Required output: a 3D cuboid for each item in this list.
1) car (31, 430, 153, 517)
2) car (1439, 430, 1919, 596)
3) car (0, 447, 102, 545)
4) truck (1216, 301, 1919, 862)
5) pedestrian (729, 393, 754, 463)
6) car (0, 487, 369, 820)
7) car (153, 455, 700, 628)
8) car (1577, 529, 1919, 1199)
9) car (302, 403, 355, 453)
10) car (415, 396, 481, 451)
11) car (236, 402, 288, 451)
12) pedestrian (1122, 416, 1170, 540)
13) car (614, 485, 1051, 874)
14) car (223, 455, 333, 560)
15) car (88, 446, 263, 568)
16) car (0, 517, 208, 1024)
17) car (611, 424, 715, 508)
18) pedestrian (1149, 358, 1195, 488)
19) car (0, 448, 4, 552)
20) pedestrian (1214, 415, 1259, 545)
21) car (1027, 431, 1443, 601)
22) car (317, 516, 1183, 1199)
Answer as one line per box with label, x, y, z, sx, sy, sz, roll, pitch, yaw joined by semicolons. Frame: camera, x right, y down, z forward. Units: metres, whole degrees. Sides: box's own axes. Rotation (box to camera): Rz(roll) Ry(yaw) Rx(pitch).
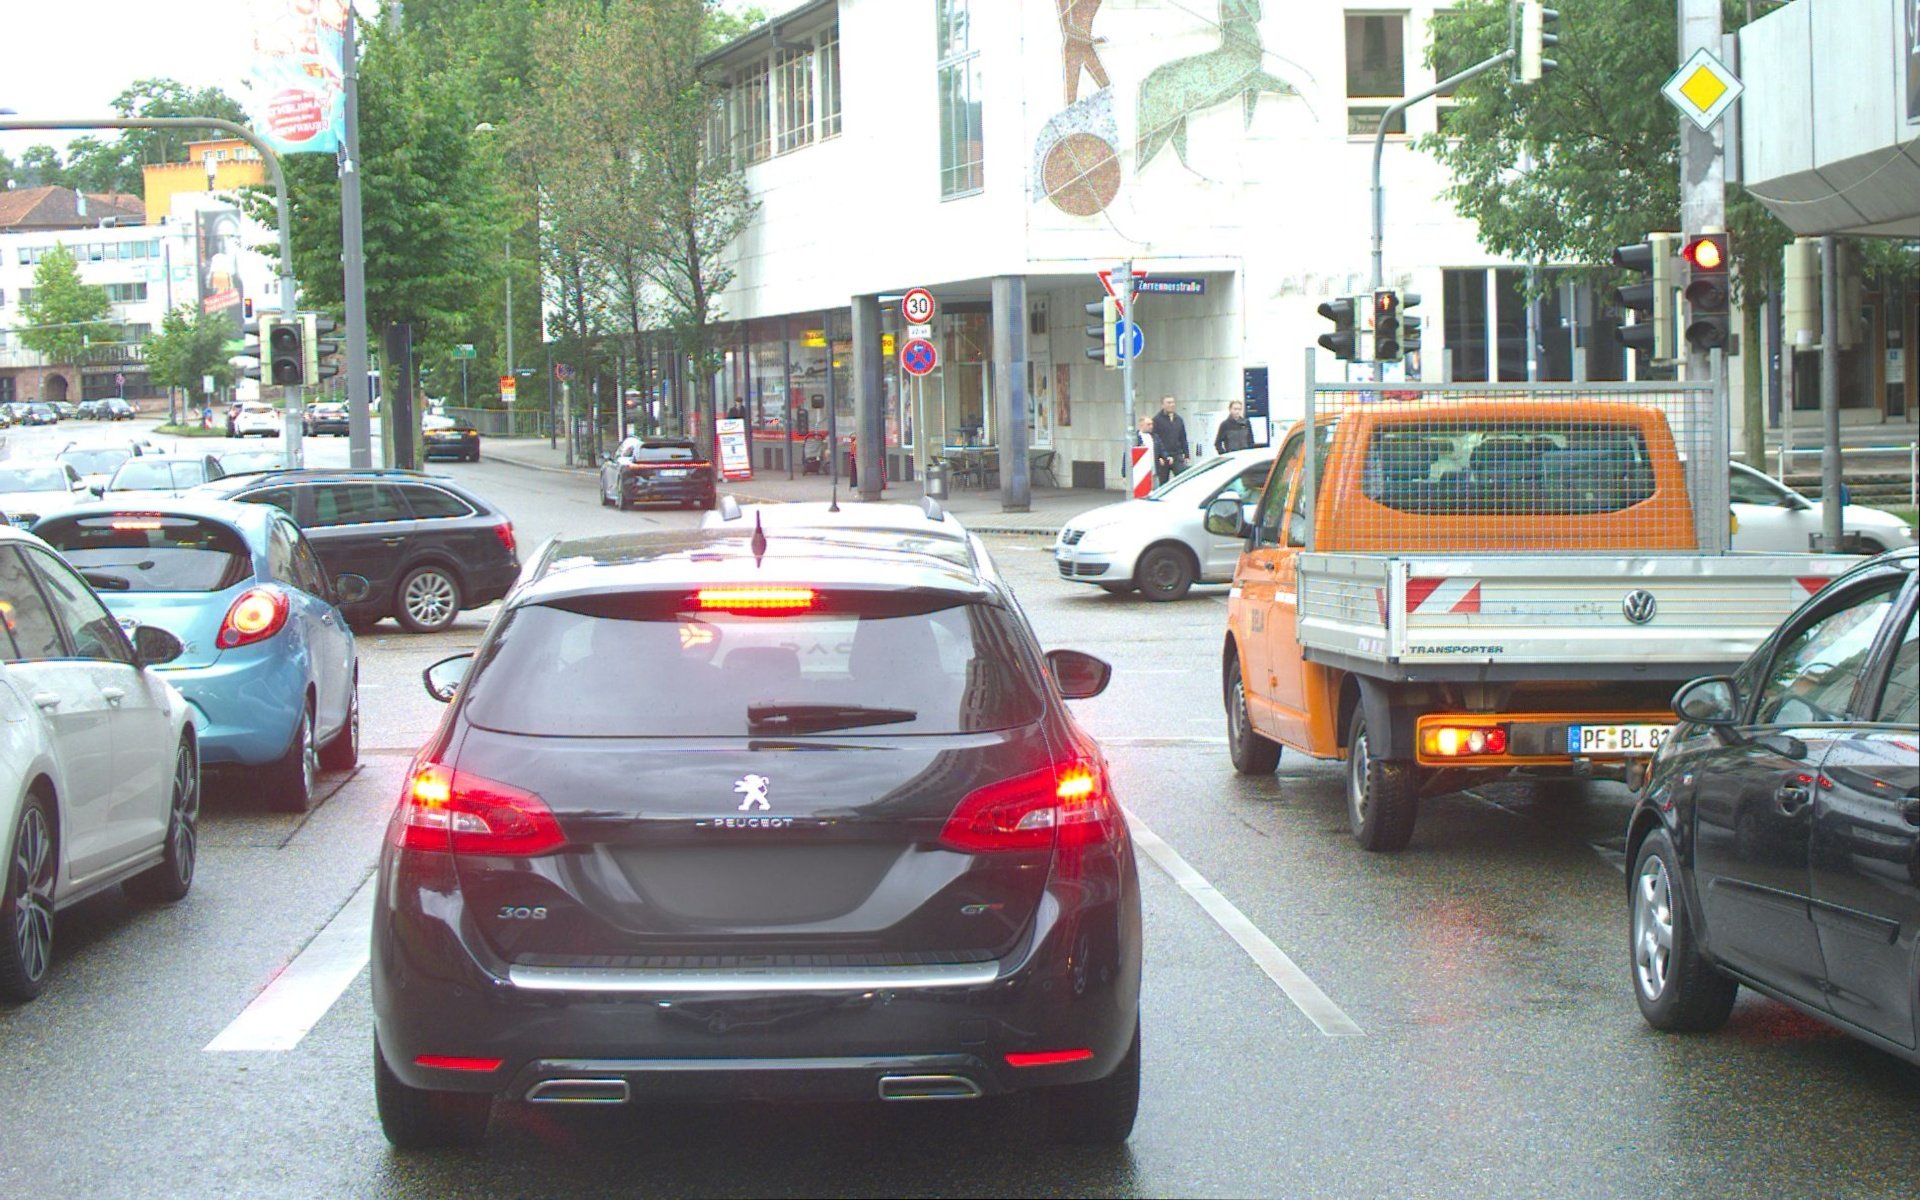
car;-15.402;-2.257;61.108;1.632;1.481;3.611;0;2;-7
car;6.779;-0.809;31.944;4.291;1.481;1.639;0;2;-14
car;-14.567;-1.663;54.043;1.632;1.481;3.611;0;2;-7
truck;2.582;-0.169;15.867;2.177;2.165;5.021;1;2;-3
pedestrian;-5.479;-4.317;86.294;0.468;1.742;0.541;1;0;-21
car;-3.972;0.188;17.464;1.632;1.481;3.610;0;2;-5
car;-4.860;-0.566;31.637;4.723;1.481;1.638;-1;3;-34
car;2.820;0.561;8.656;1.616;1.424;3.843;0;2;-3
car;-27.047;-7.346;147.188;1.705;1.929;4.001;1;0;-18
car;-16.109;-5.522;108.092;1.724;1.485;4.734;1;0;-12
car;-29.642;-7.341;145.969;1.705;1.875;4.001;1;0;-18
pedestrian;2.676;-1.750;49.494;0.637;1.752;0.733;0;0;6
car;-0.524;0.249;15.331;1.696;1.481;3.794;1;2;-1
car;-11.464;-1.526;57.868;1.744;1.634;4.001;1;0;-11
car;-10.896;-1.260;47.969;1.744;1.574;4.000;1;0;-4
car;-3.727;0.450;11.455;1.777;1.424;3.843;0;2;-3
car;-5.864;-2.659;67.539;1.787;1.449;4.508;-3;4;-7
pedestrian;3.162;-2.635;51.272;0.637;1.891;0.733;0;0;6
car;-14.272;-1.358;47.067;1.574;1.481;3.610;0;2;-4
pedestrian;4.083;-1.763;50.761;0.637;1.891;0.733;0;0;6
car;2.728;-0.860;34.251;3.740;1.463;1.639;-3;3;-16
car;-0.515;0.514;9.022;1.777;1.424;3.843;0;2;-2
